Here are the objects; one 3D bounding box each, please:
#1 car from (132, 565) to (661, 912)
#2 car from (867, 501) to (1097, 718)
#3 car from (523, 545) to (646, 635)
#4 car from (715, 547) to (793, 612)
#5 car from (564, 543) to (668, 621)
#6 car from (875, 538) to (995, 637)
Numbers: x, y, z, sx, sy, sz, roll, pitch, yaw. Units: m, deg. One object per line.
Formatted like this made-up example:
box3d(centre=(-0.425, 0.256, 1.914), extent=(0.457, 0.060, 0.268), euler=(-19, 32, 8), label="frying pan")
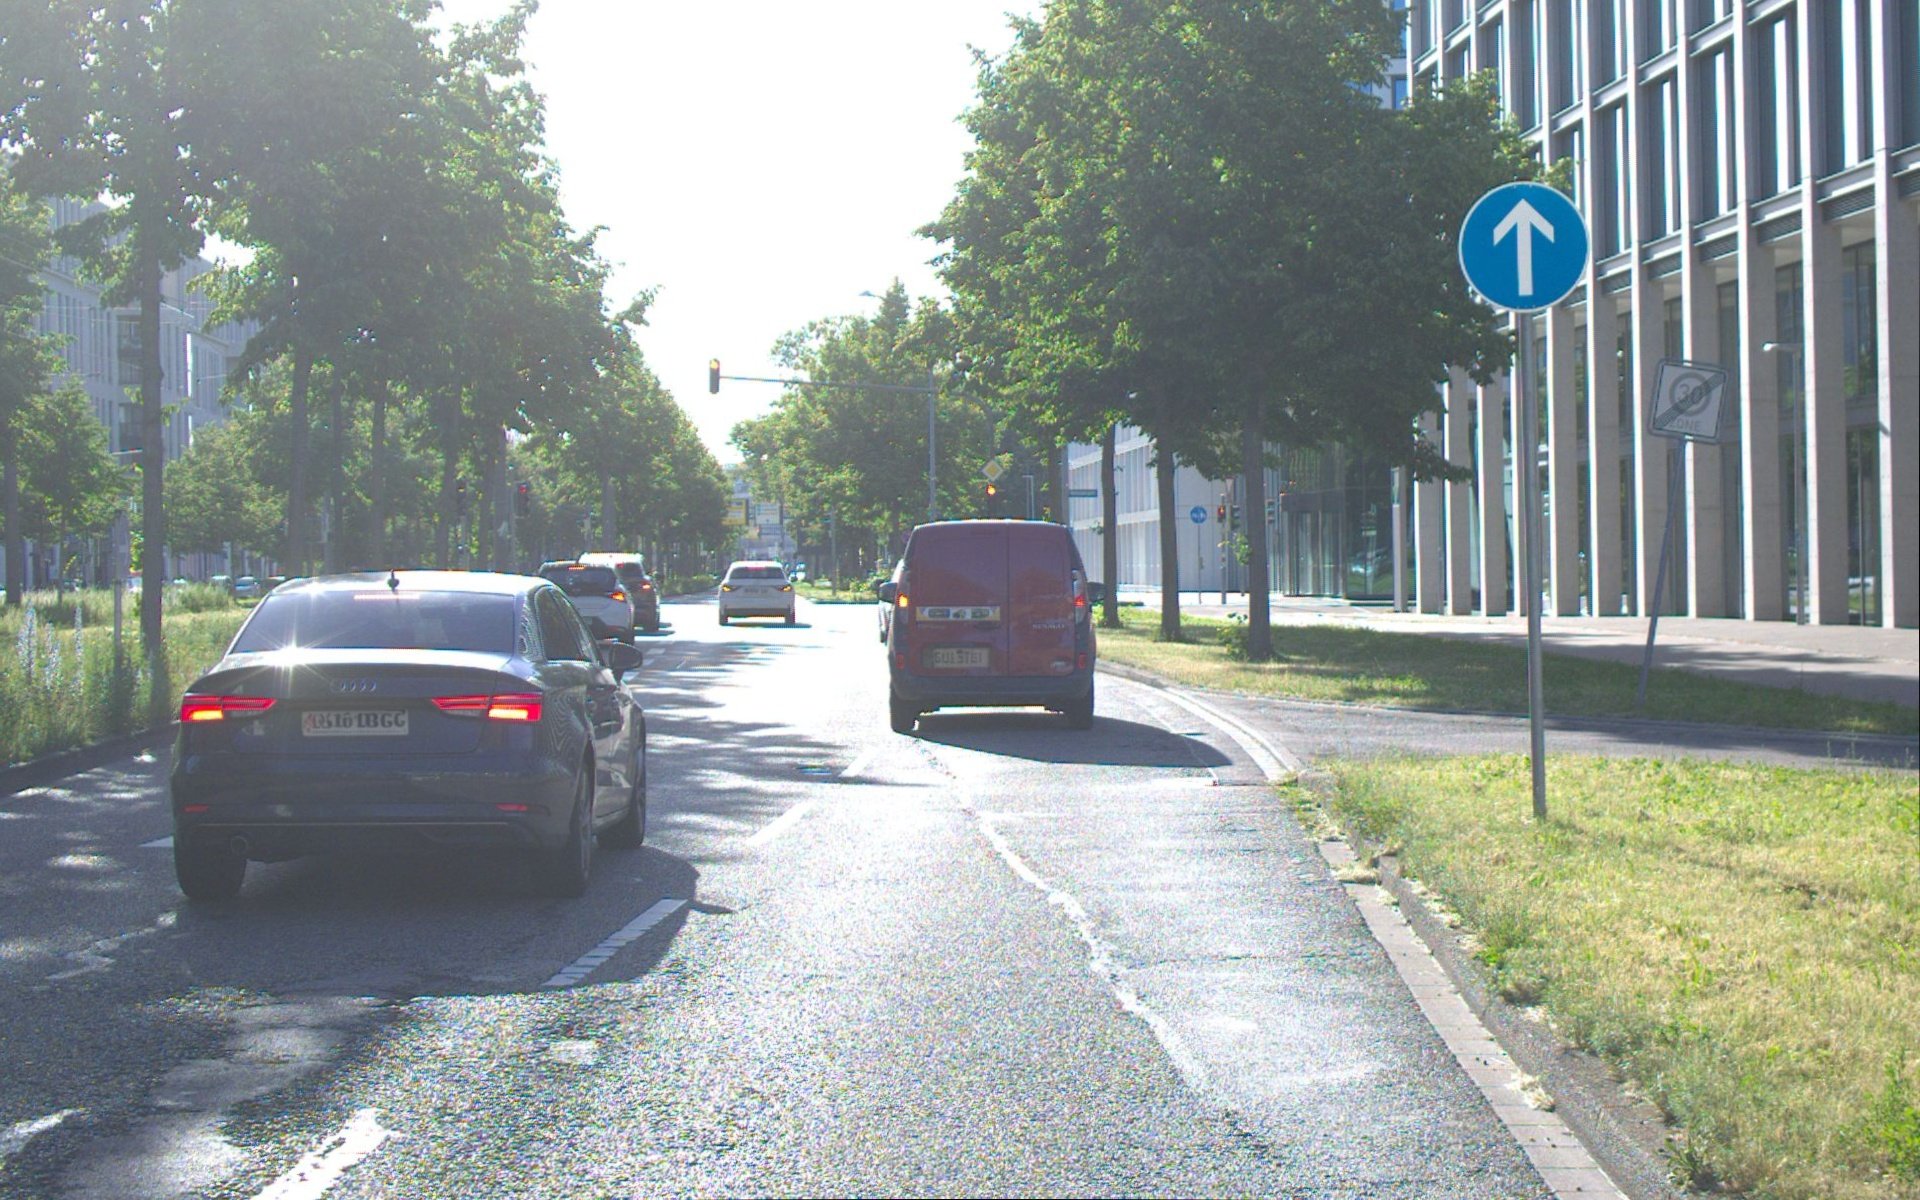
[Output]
box3d(centre=(-2.438, 0.532, 15.842), extent=(1.721, 1.361, 4.146), euler=(0, 1, 1), label="car")
box3d(centre=(0.131, 0.024, 30.630), extent=(1.797, 1.771, 4.001), euler=(1, 2, -3), label="car")
box3d(centre=(-6.250, -0.200, 57.578), extent=(1.942, 1.436, 4.001), euler=(-1, 1, -5), label="car")
box3d(centre=(-4.662, -0.489, 77.969), extent=(1.721, 1.420, 3.817), euler=(-1, 1, -3), label="car")
box3d(centre=(-7.026, -0.397, 70.501), extent=(1.842, 1.529, 3.940), euler=(-1, 1, -2), label="car")
box3d(centre=(-0.452, -0.236, 57.310), extent=(1.720, 1.420, 3.818), euler=(1, 3, -4), label="car")
